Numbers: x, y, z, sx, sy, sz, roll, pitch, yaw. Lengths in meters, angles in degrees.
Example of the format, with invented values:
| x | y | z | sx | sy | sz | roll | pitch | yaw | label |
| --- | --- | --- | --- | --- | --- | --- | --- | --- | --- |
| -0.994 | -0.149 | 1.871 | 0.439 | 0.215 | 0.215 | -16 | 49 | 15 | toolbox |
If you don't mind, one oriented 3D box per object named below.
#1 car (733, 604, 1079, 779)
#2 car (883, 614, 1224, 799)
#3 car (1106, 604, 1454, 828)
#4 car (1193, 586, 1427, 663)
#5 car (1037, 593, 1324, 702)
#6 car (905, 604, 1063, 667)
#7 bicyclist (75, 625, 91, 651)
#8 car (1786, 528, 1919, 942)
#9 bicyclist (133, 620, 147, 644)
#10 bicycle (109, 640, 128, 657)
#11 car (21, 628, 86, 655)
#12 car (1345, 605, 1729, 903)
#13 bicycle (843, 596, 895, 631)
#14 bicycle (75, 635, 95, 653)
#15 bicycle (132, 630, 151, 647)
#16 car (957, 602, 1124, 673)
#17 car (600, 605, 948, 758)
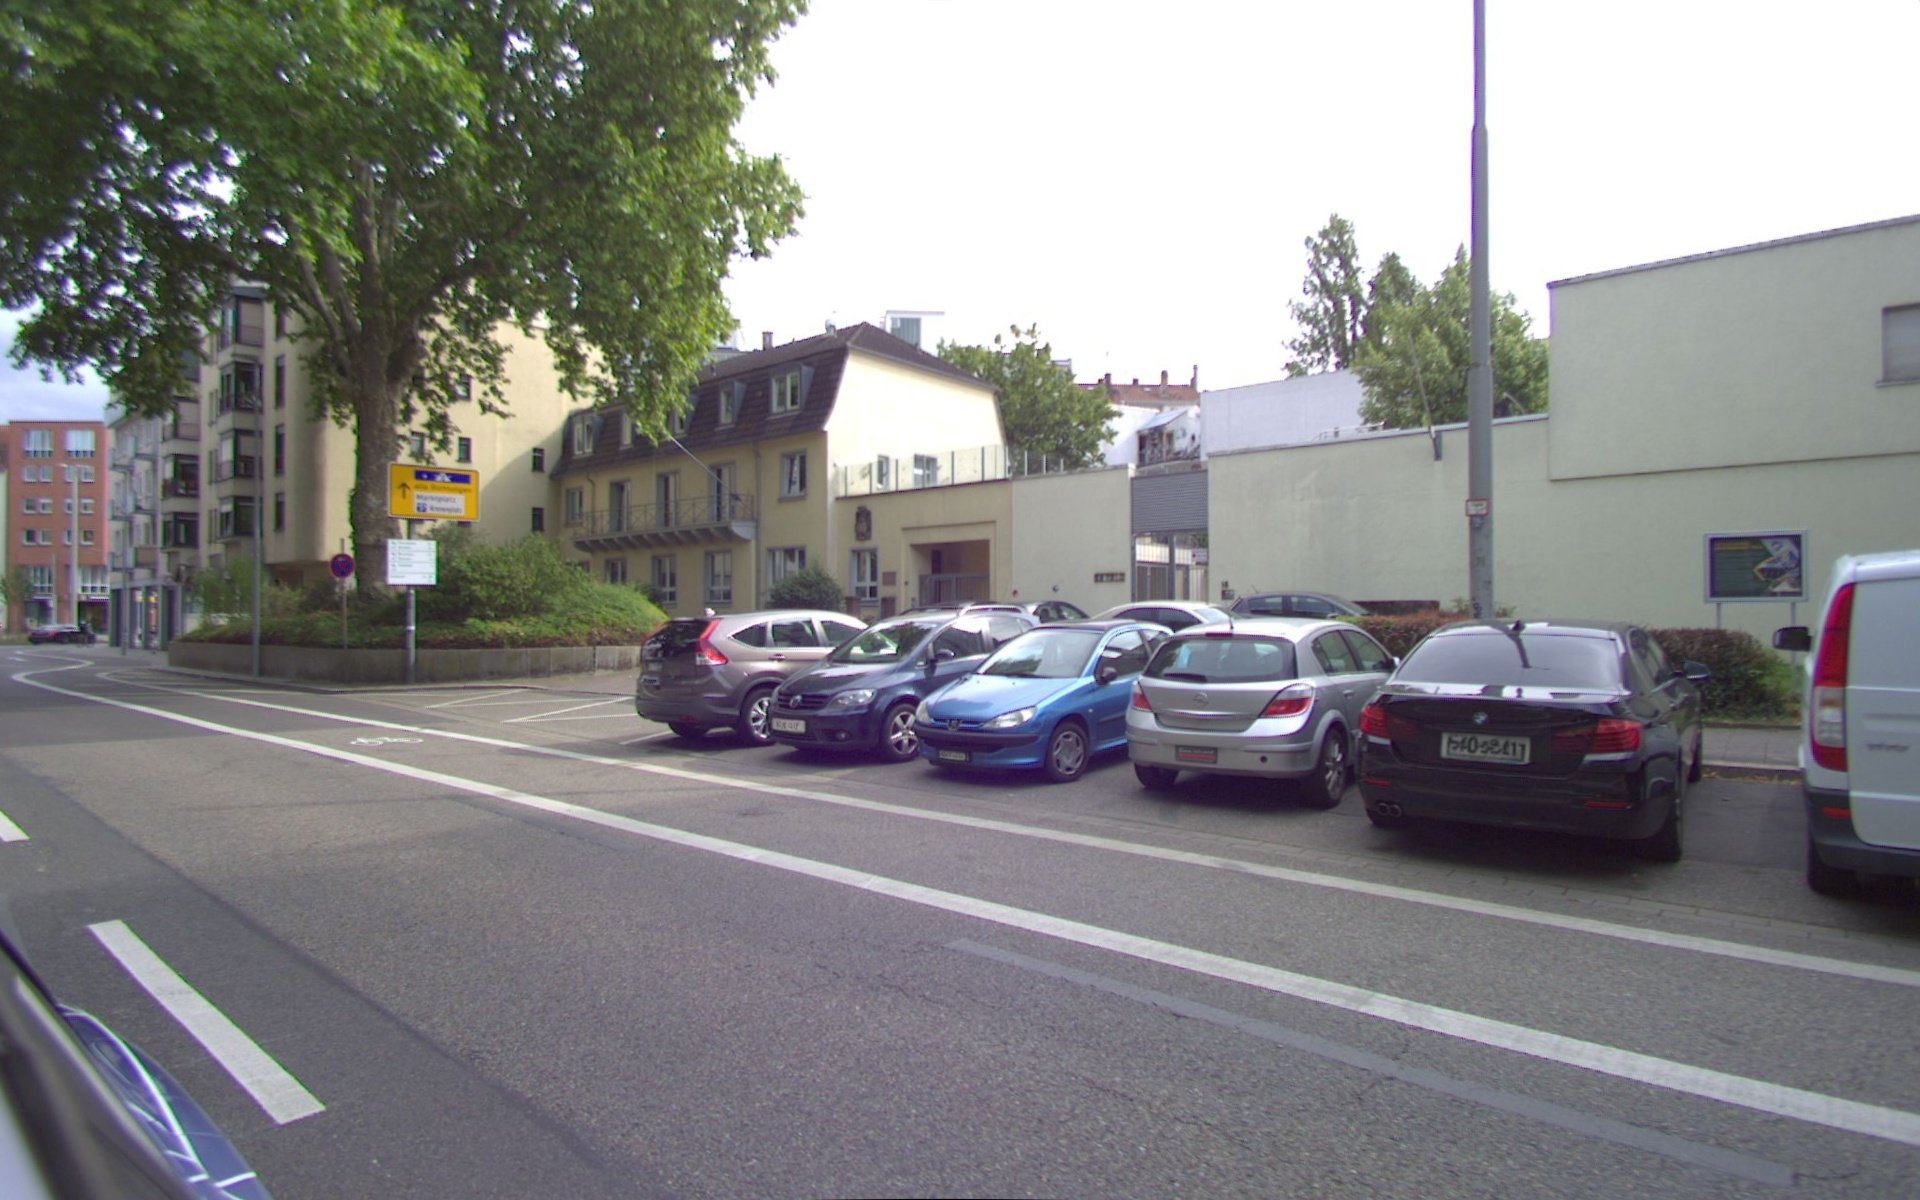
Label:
| x | y | z | sx | sy | sz | roll | pitch | yaw | label |
| --- | --- | --- | --- | --- | --- | --- | --- | --- | --- |
| -0.489 | 0.915 | 11.833 | 1.753 | 1.581 | 3.898 | -2 | 0 | 43 | car |
| 1.114 | 0.940 | 10.502 | 1.752 | 1.437 | 3.646 | -2 | 0 | 39 | car |
| 3.051 | 0.858 | 9.188 | 1.752 | 1.497 | 3.646 | -2 | 0 | 39 | car |
| 6.861 | 0.501 | 19.972 | 3.991 | 1.342 | 1.796 | -3 | -1 | 35 | car |
| 3.475 | 0.726 | 16.437 | 4.231 | 1.530 | 1.739 | -2 | -1 | 41 | car |
| 0.679 | 0.857 | 26.168 | 1.892 | 1.431 | 3.942 | -1 | 1 | 45 | car |
| -53.404 | 2.300 | 61.600 | 1.077 | 1.537 | 0.649 | -4 | -2 | 45 | bicyclist |
| 6.281 | 0.551 | 5.934 | 2.046 | 1.892 | 4.479 | -2 | 0 | 41 | car |
| -54.157 | 2.144 | 66.833 | 0.841 | 1.537 | 0.649 | -4 | -2 | 45 | bicyclist |
| -55.308 | 3.187 | 66.515 | 1.976 | 1.014 | 0.729 | -4 | -2 | 44 | bicycle |
| -60.853 | 2.834 | 68.038 | 1.785 | 1.419 | 4.622 | -2 | -5 | -22 | car |
| 4.306 | 0.841 | 7.277 | 1.752 | 1.455 | 3.645 | -2 | 0 | 40 | car |
| -2.827 | 0.410 | 31.434 | 0.399 | 1.052 | 1.779 | -4 | -1 | 42 | bicycle |
| -53.461 | 2.712 | 61.824 | 2.195 | 1.014 | 0.729 | -4 | -2 | 44 | bicycle |
| -53.860 | 2.524 | 66.557 | 0.729 | 1.014 | 2.253 | -1 | -2 | -45 | bicycle |
| 1.994 | 0.835 | 24.334 | 1.918 | 1.477 | 3.942 | -1 | 0 | 45 | car |
| -2.318 | 0.952 | 13.462 | 1.967 | 1.618 | 4.212 | -3 | -1 | 41 | car |
